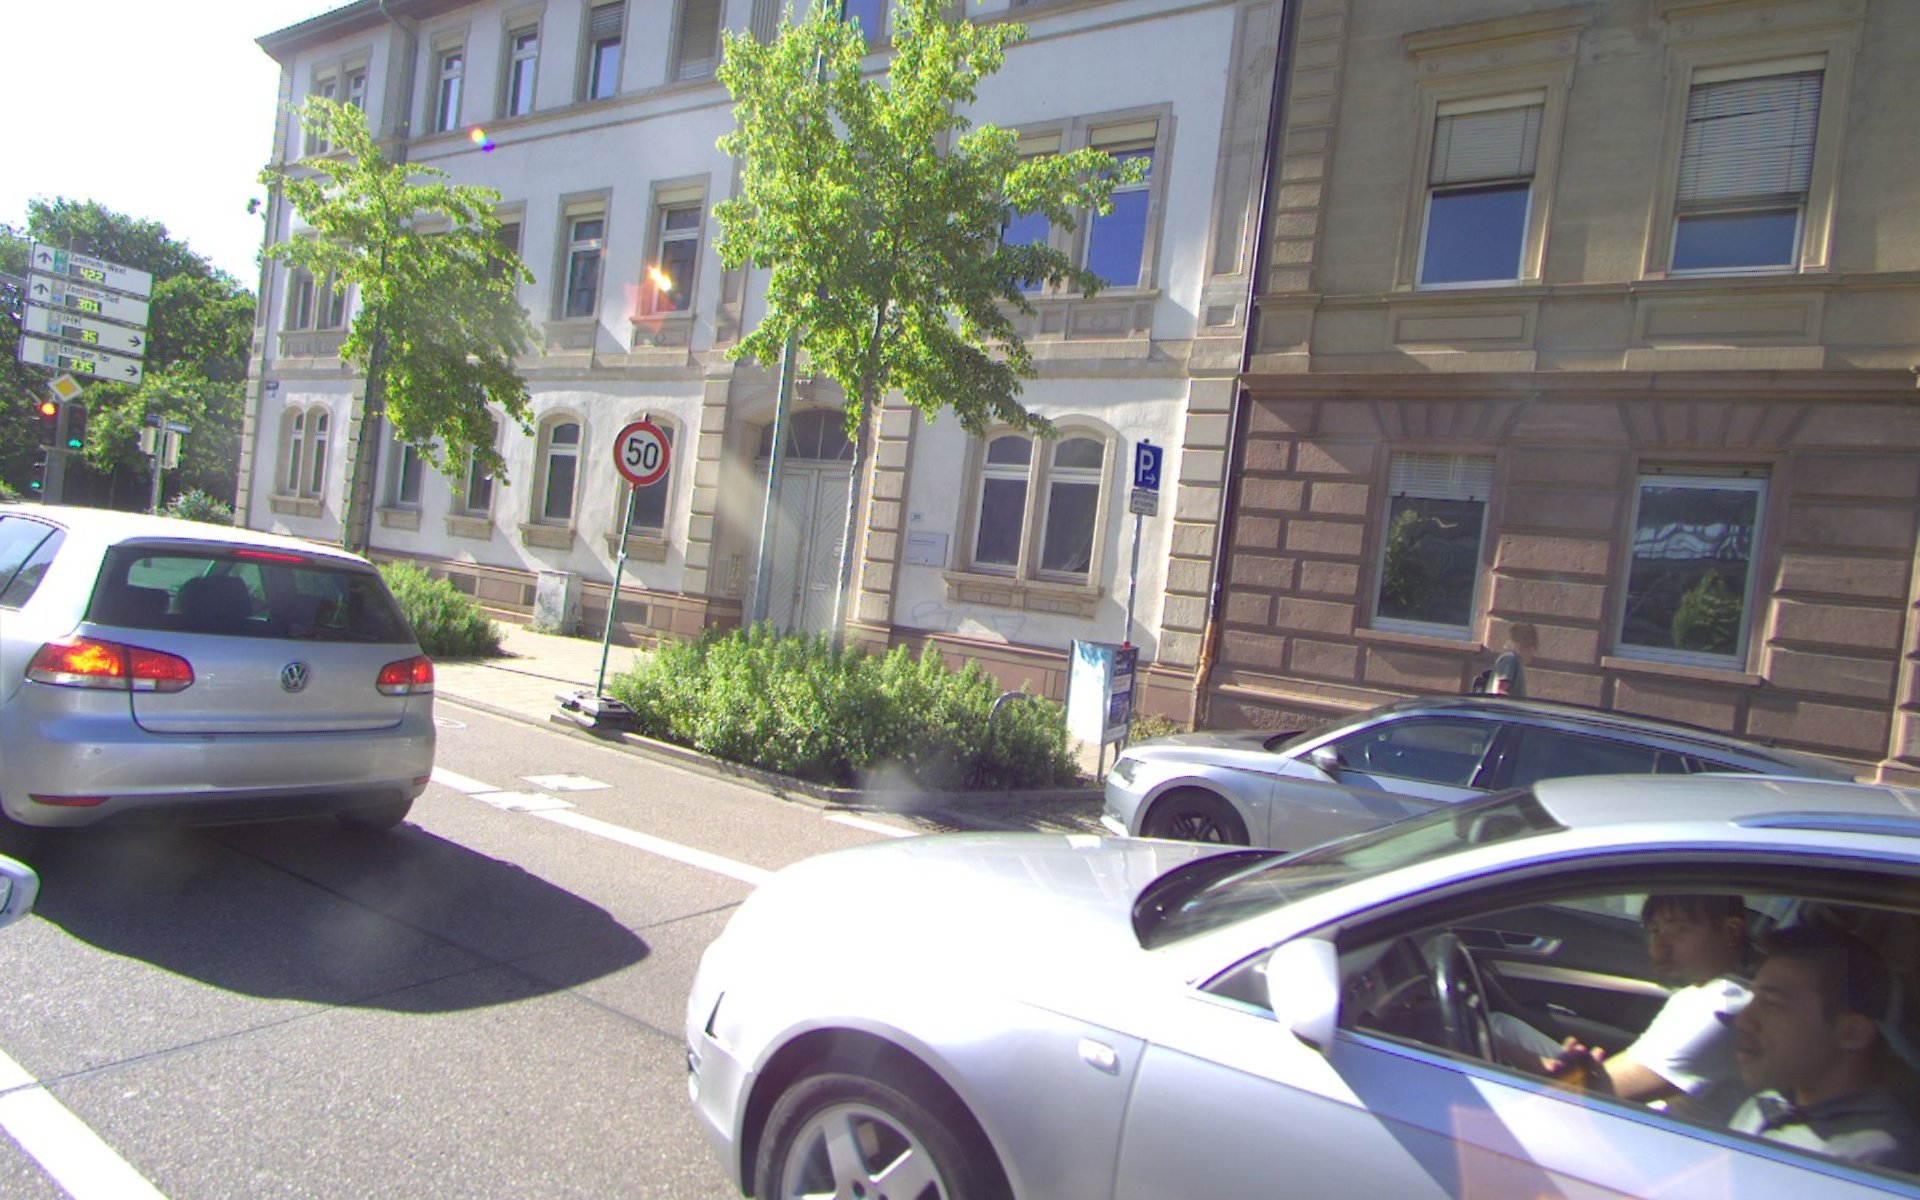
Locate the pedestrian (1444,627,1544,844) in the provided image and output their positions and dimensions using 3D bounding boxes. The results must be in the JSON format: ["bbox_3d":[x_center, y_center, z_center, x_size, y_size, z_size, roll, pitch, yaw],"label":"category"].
[{"bbox_3d":[4.859,1.198,9.155,0.577,1.846,0.563,8,4,30],"label":"pedestrian"}]

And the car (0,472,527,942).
[{"bbox_3d":[-4.286,0.235,5.116,3.938,1.545,1.753,7,-1,32],"label":"car"}]

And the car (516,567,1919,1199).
[{"bbox_3d":[1.399,0.965,2.006,4.759,1.444,1.750,7,-1,33],"label":"car"}]

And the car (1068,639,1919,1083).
[{"bbox_3d":[3.196,1.292,6.353,4.621,1.495,1.648,7,3,31],"label":"car"}]

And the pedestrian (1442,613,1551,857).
[{"bbox_3d":[4.575,1.108,8.578,0.577,1.939,0.658,8,4,30],"label":"pedestrian"}]
